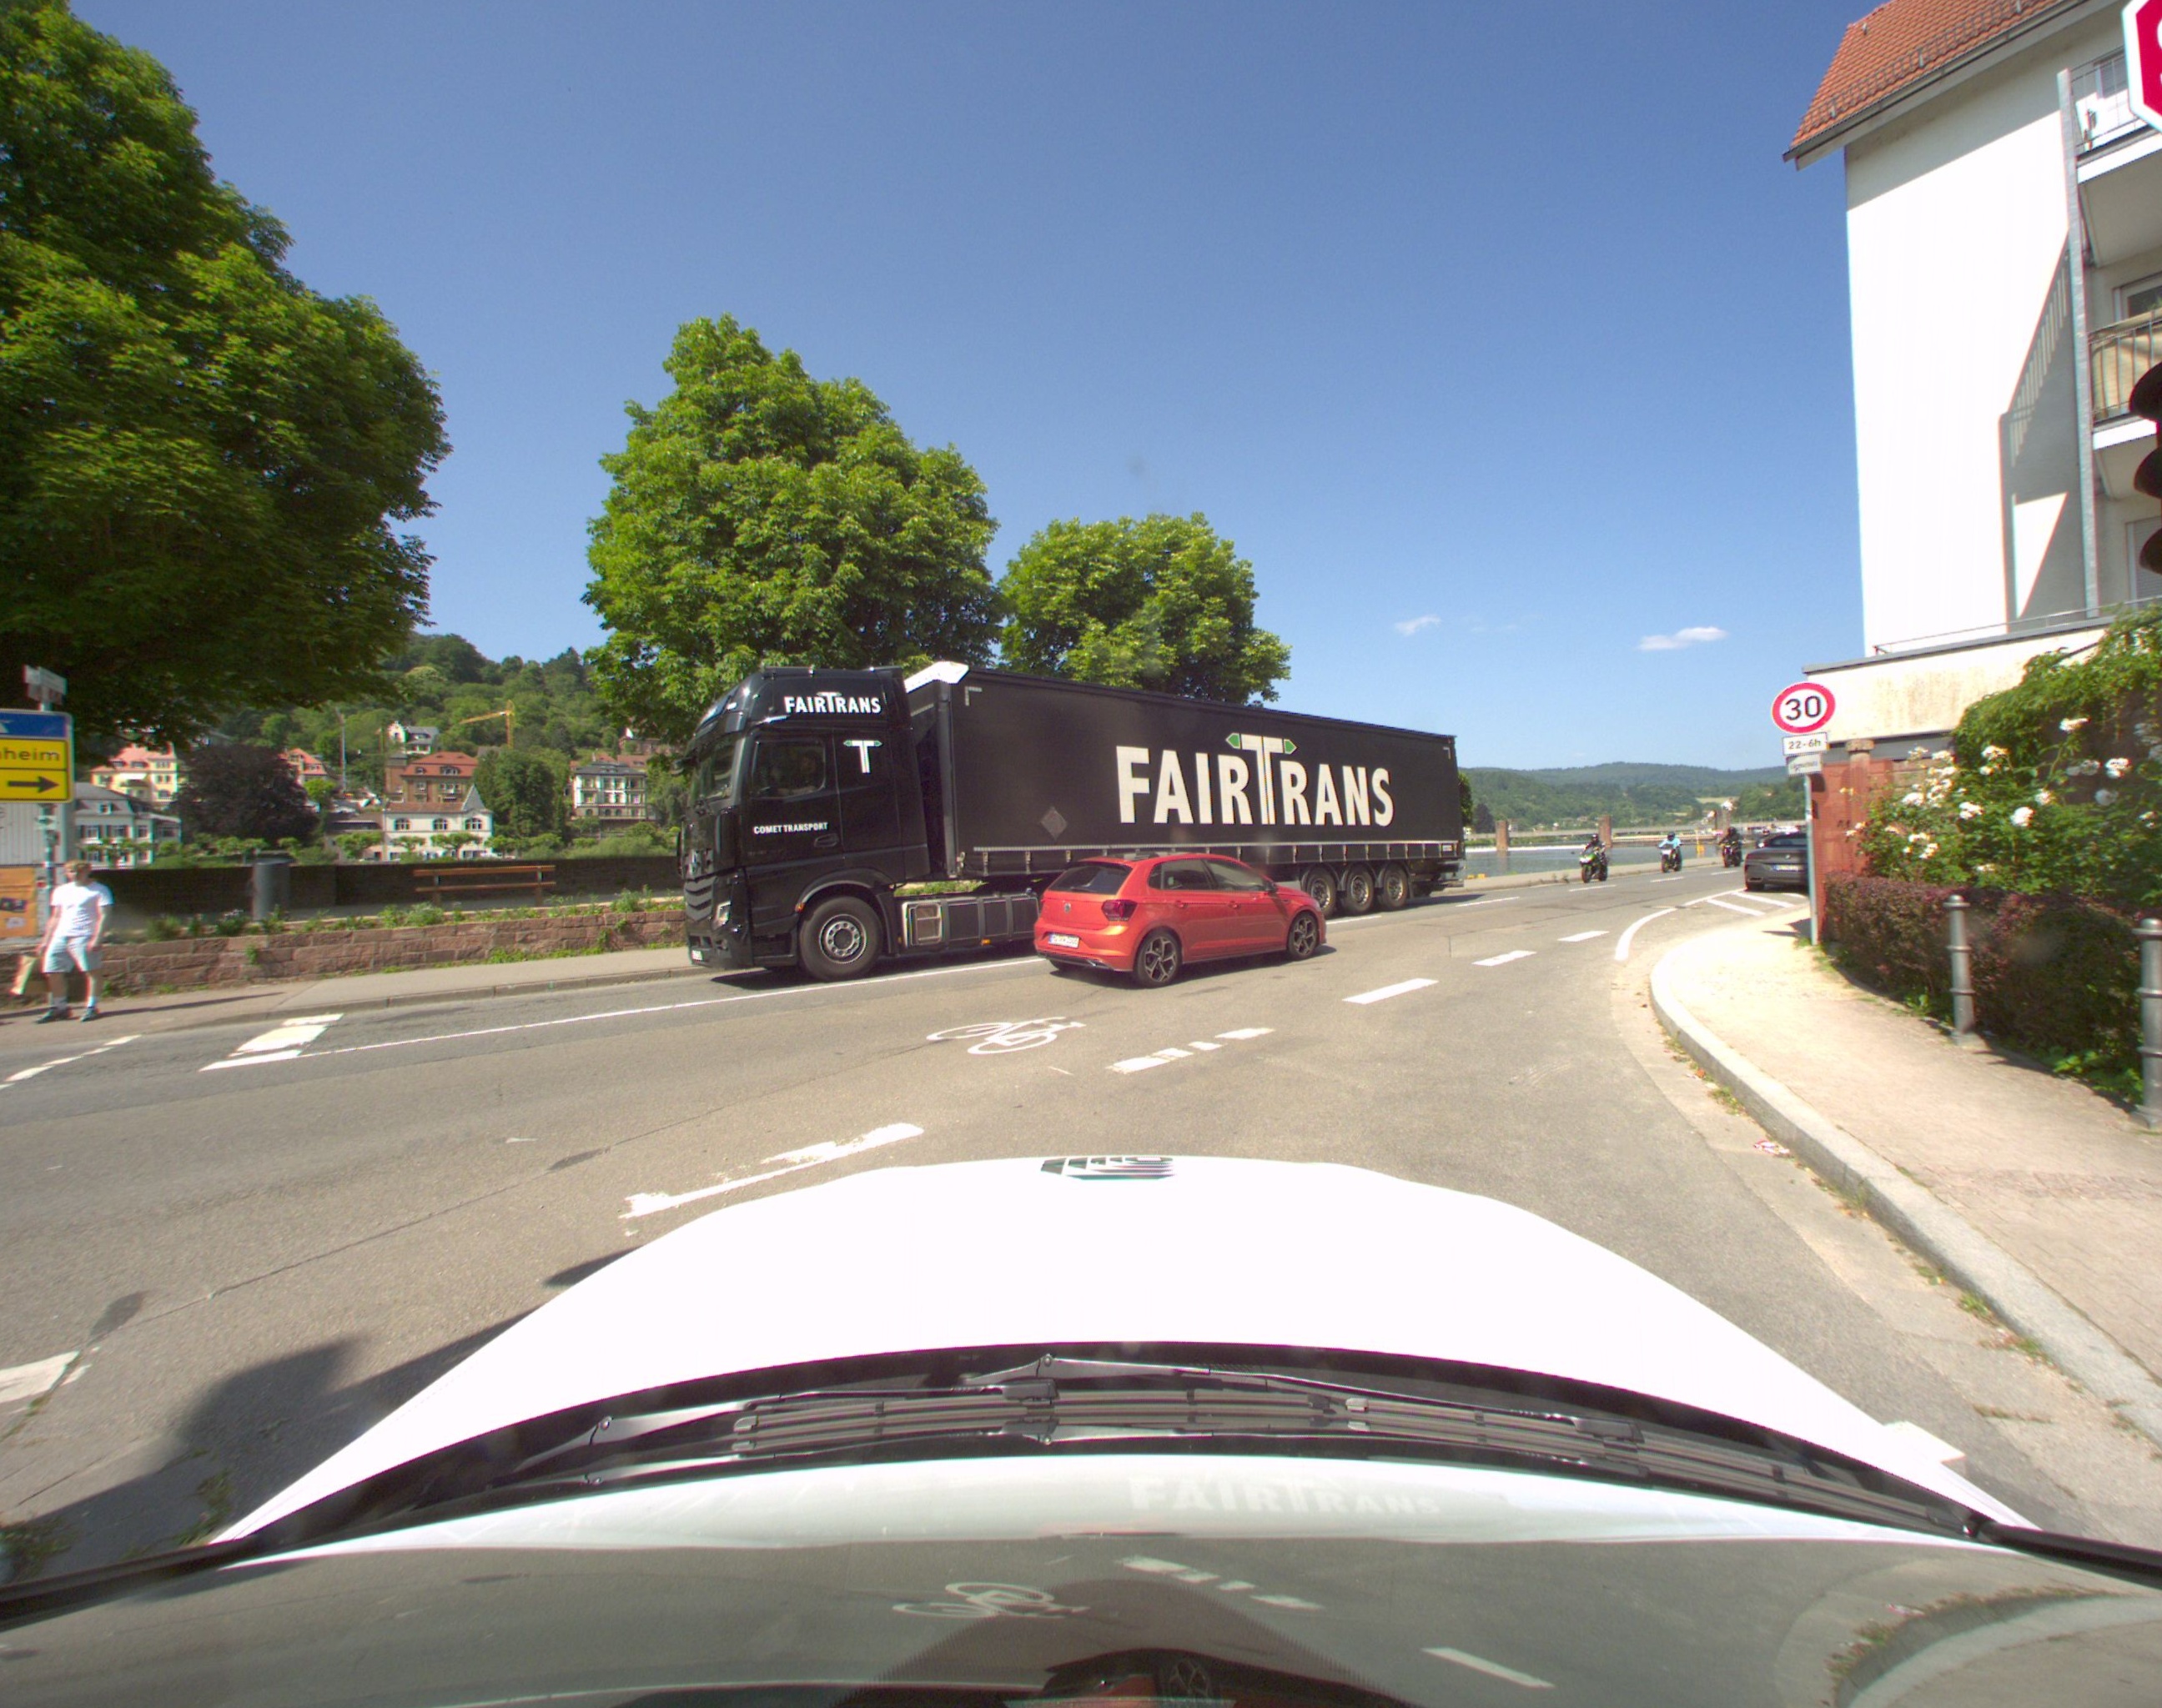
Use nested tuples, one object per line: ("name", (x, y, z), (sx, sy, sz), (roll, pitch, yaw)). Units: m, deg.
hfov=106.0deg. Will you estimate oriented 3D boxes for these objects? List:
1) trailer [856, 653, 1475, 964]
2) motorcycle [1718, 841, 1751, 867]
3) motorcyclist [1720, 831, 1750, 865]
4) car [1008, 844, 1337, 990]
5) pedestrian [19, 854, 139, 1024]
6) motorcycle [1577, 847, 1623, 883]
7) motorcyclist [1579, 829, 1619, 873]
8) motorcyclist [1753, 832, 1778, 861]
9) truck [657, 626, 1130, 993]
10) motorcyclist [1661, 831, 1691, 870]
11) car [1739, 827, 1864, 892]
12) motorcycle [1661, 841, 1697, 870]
("trailer", (2.828, -0.729, 16.081), (13.837, 4.104, 2.810), (-2, -2, -38))
("motorcycle", (27.567, -0.001, 34.339), (1.824, 1.024, 0.651), (-2, -1, -38))
("motorcyclist", (27.532, -0.253, 34.310), (0.804, 1.366, 0.780), (-1, -1, -38))
("car", (1.268, 0.645, 10.156), (4.038, 1.405, 1.710), (-2, 0, -39))
("pedestrian", (-11.219, 0.909, 9.146), (0.708, 1.802, 0.573), (-1, -1, -37))
("motorcycle", (17.788, 0.360, 27.892), (2.103, 1.123, 0.628), (-2, -3, -39))
("motorcyclist", (17.708, -0.101, 27.844), (0.996, 1.460, 0.772), (-2, -2, -38))
("motorcyclist", (33.024, -0.381, 39.271), (0.941, 1.366, 0.711), (-2, -1, -38))
("truck", (-2.558, -0.511, 11.916), (5.960, 4.071, 2.807), (-2, -2, -37))
("motorcyclist", (24.360, -0.157, 33.344), (0.996, 1.525, 0.657), (-2, -2, -40))
("car", (17.158, 0.075, 19.344), (3.758, 1.399, 1.673), (-2, 1, -40))
("motorcycle", (24.666, 0.057, 33.572), (2.103, 1.123, 0.628), (-2, -3, -39))
